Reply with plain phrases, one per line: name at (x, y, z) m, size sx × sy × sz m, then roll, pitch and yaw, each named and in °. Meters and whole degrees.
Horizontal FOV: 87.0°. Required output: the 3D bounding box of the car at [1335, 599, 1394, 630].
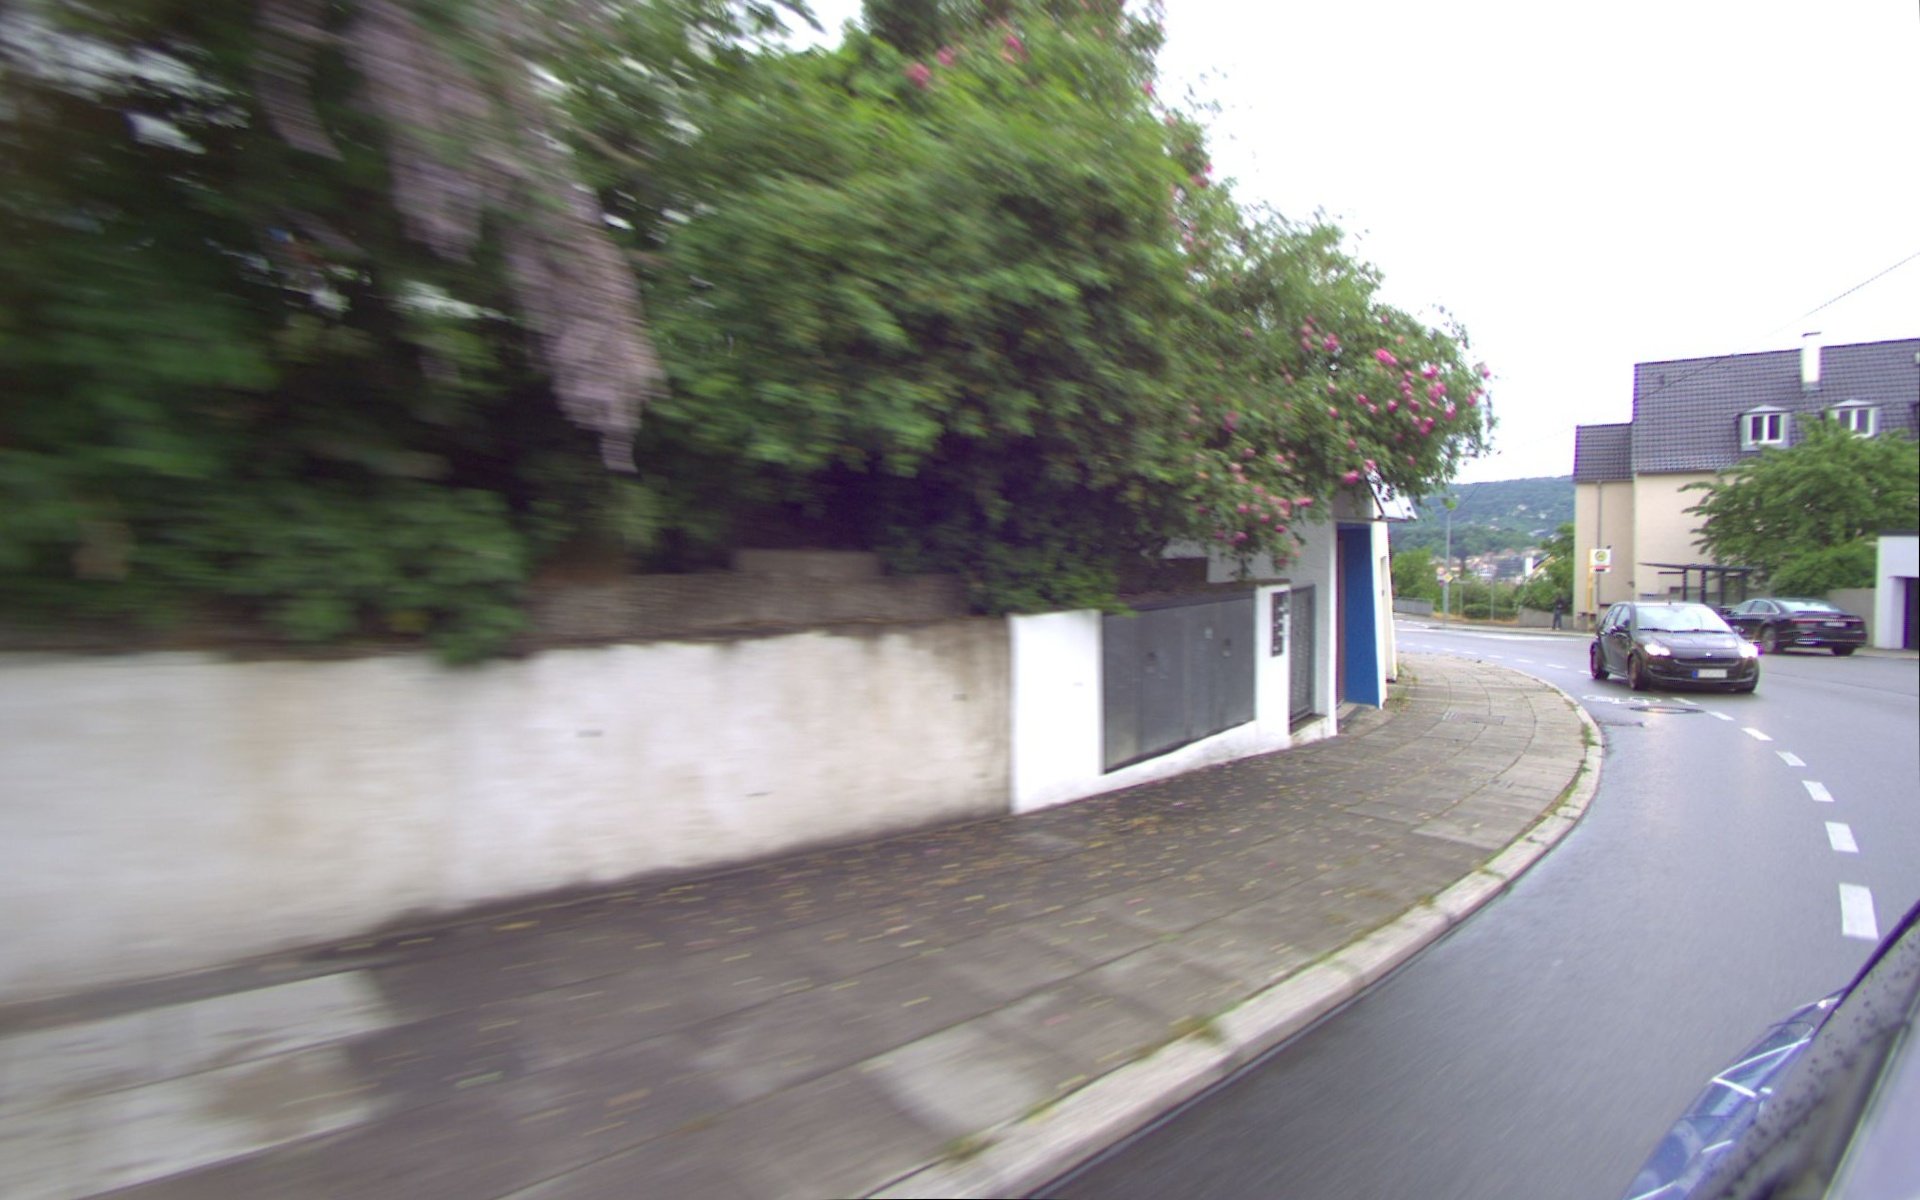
car at (20.733, 0.718, 52.025) m, size 1.737 × 1.472 × 4.391 m, roll 0°, pitch 0°, yaw 7°

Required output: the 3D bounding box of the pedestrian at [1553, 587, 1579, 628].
pedestrian at (28.779, 0.355, 48.093) m, size 0.776 × 1.880 × 0.726 m, roll -2°, pitch 0°, yaw 10°

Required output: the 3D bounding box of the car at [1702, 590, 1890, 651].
car at (22.669, 0.479, 27.741) m, size 1.806 × 1.504 × 4.975 m, roll 0°, pitch 1°, yaw 11°

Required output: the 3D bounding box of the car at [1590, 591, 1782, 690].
car at (12.242, 0.625, 17.329) m, size 1.660 × 1.430 × 3.614 m, roll -2°, pitch 1°, yaw 19°
